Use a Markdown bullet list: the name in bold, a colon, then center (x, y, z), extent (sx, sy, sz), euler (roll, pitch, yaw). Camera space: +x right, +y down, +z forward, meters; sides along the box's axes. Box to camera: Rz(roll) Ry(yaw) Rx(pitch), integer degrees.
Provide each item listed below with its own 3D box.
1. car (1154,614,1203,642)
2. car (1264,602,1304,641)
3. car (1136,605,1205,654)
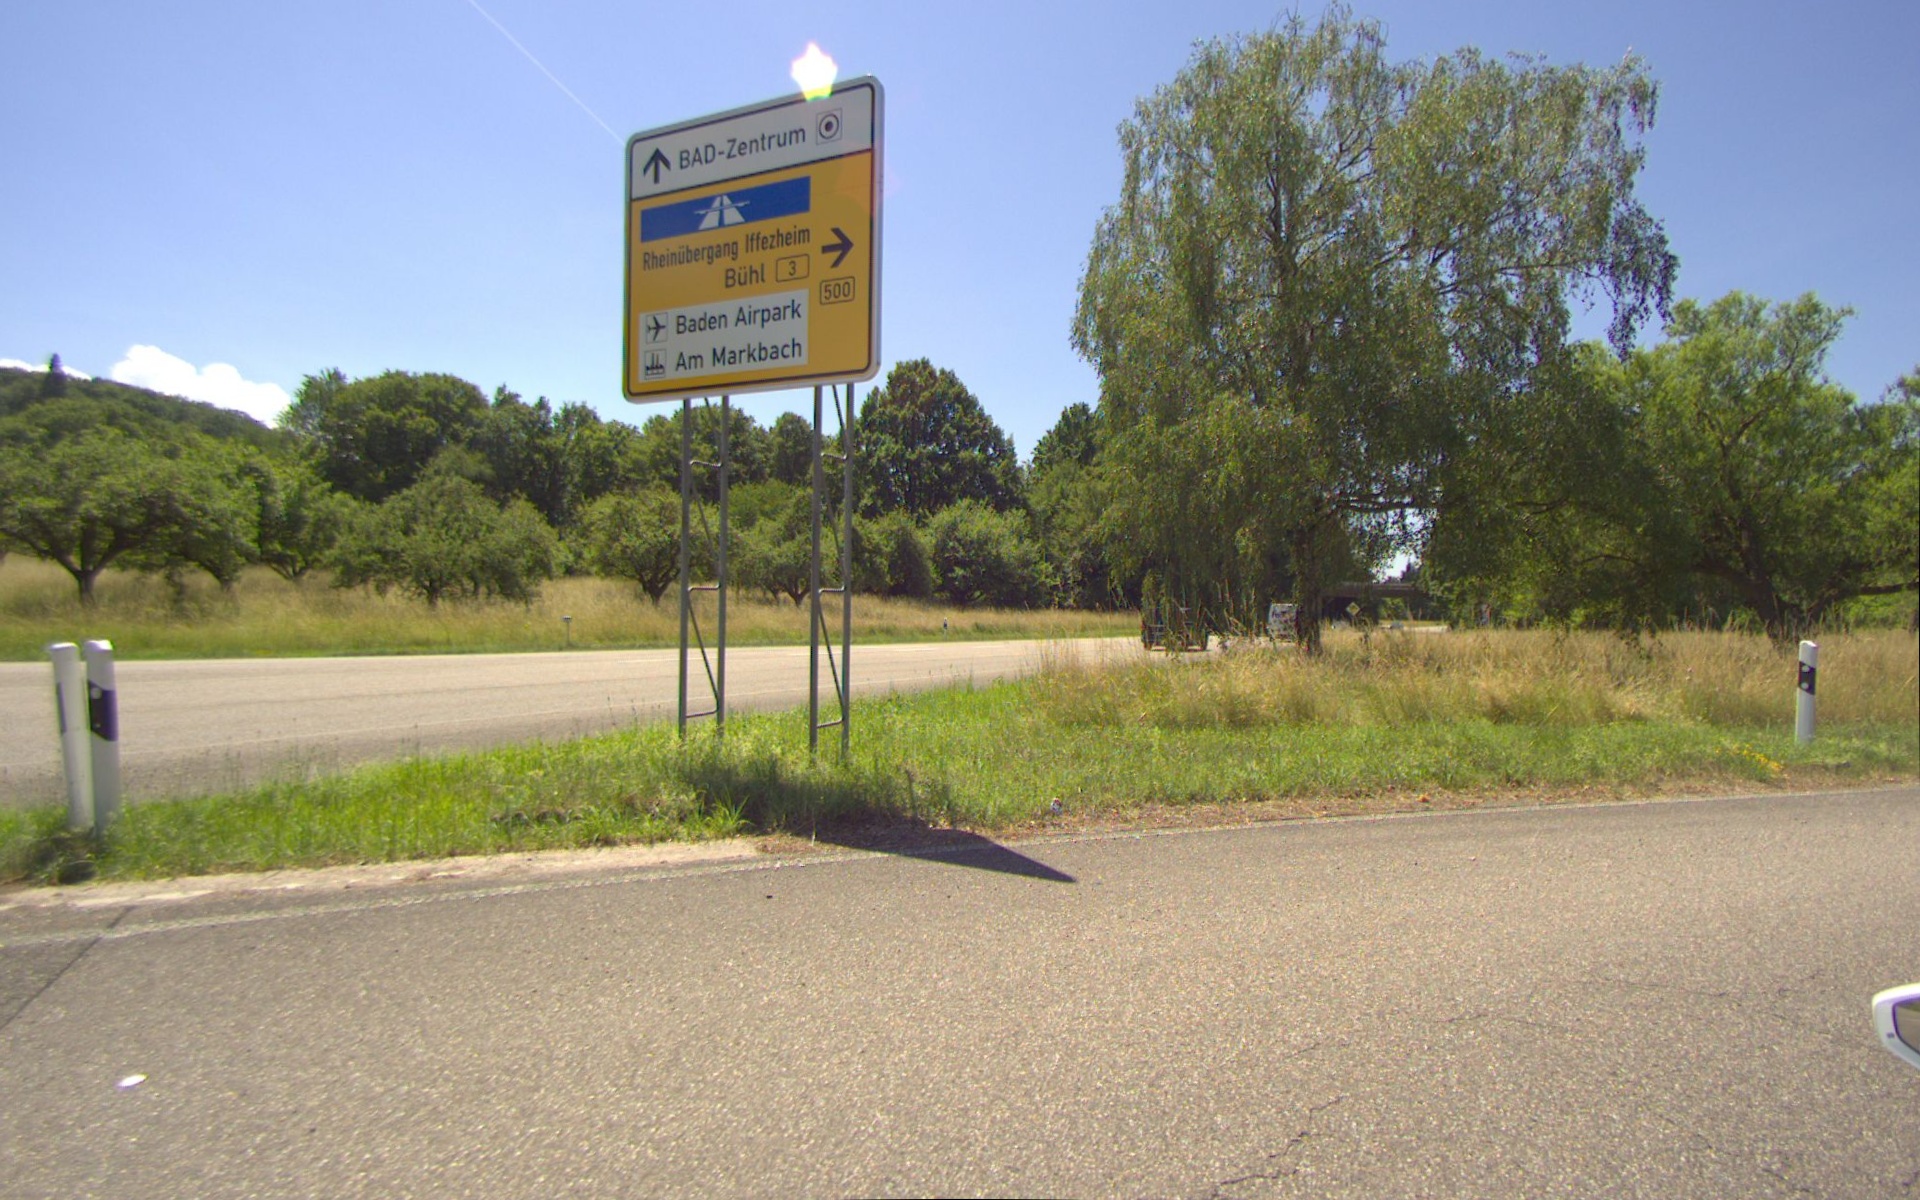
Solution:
- **car**: center (14.171, 1.798, 65.050), extent (2.084, 1.657, 4.085), euler (2, 0, 27)
- **car**: center (22.487, 1.463, 69.643), extent (2.083, 2.534, 4.086), euler (2, 0, 25)
- **car**: center (9.328, 1.270, 44.278), extent (1.963, 1.974, 4.085), euler (2, 0, 27)
